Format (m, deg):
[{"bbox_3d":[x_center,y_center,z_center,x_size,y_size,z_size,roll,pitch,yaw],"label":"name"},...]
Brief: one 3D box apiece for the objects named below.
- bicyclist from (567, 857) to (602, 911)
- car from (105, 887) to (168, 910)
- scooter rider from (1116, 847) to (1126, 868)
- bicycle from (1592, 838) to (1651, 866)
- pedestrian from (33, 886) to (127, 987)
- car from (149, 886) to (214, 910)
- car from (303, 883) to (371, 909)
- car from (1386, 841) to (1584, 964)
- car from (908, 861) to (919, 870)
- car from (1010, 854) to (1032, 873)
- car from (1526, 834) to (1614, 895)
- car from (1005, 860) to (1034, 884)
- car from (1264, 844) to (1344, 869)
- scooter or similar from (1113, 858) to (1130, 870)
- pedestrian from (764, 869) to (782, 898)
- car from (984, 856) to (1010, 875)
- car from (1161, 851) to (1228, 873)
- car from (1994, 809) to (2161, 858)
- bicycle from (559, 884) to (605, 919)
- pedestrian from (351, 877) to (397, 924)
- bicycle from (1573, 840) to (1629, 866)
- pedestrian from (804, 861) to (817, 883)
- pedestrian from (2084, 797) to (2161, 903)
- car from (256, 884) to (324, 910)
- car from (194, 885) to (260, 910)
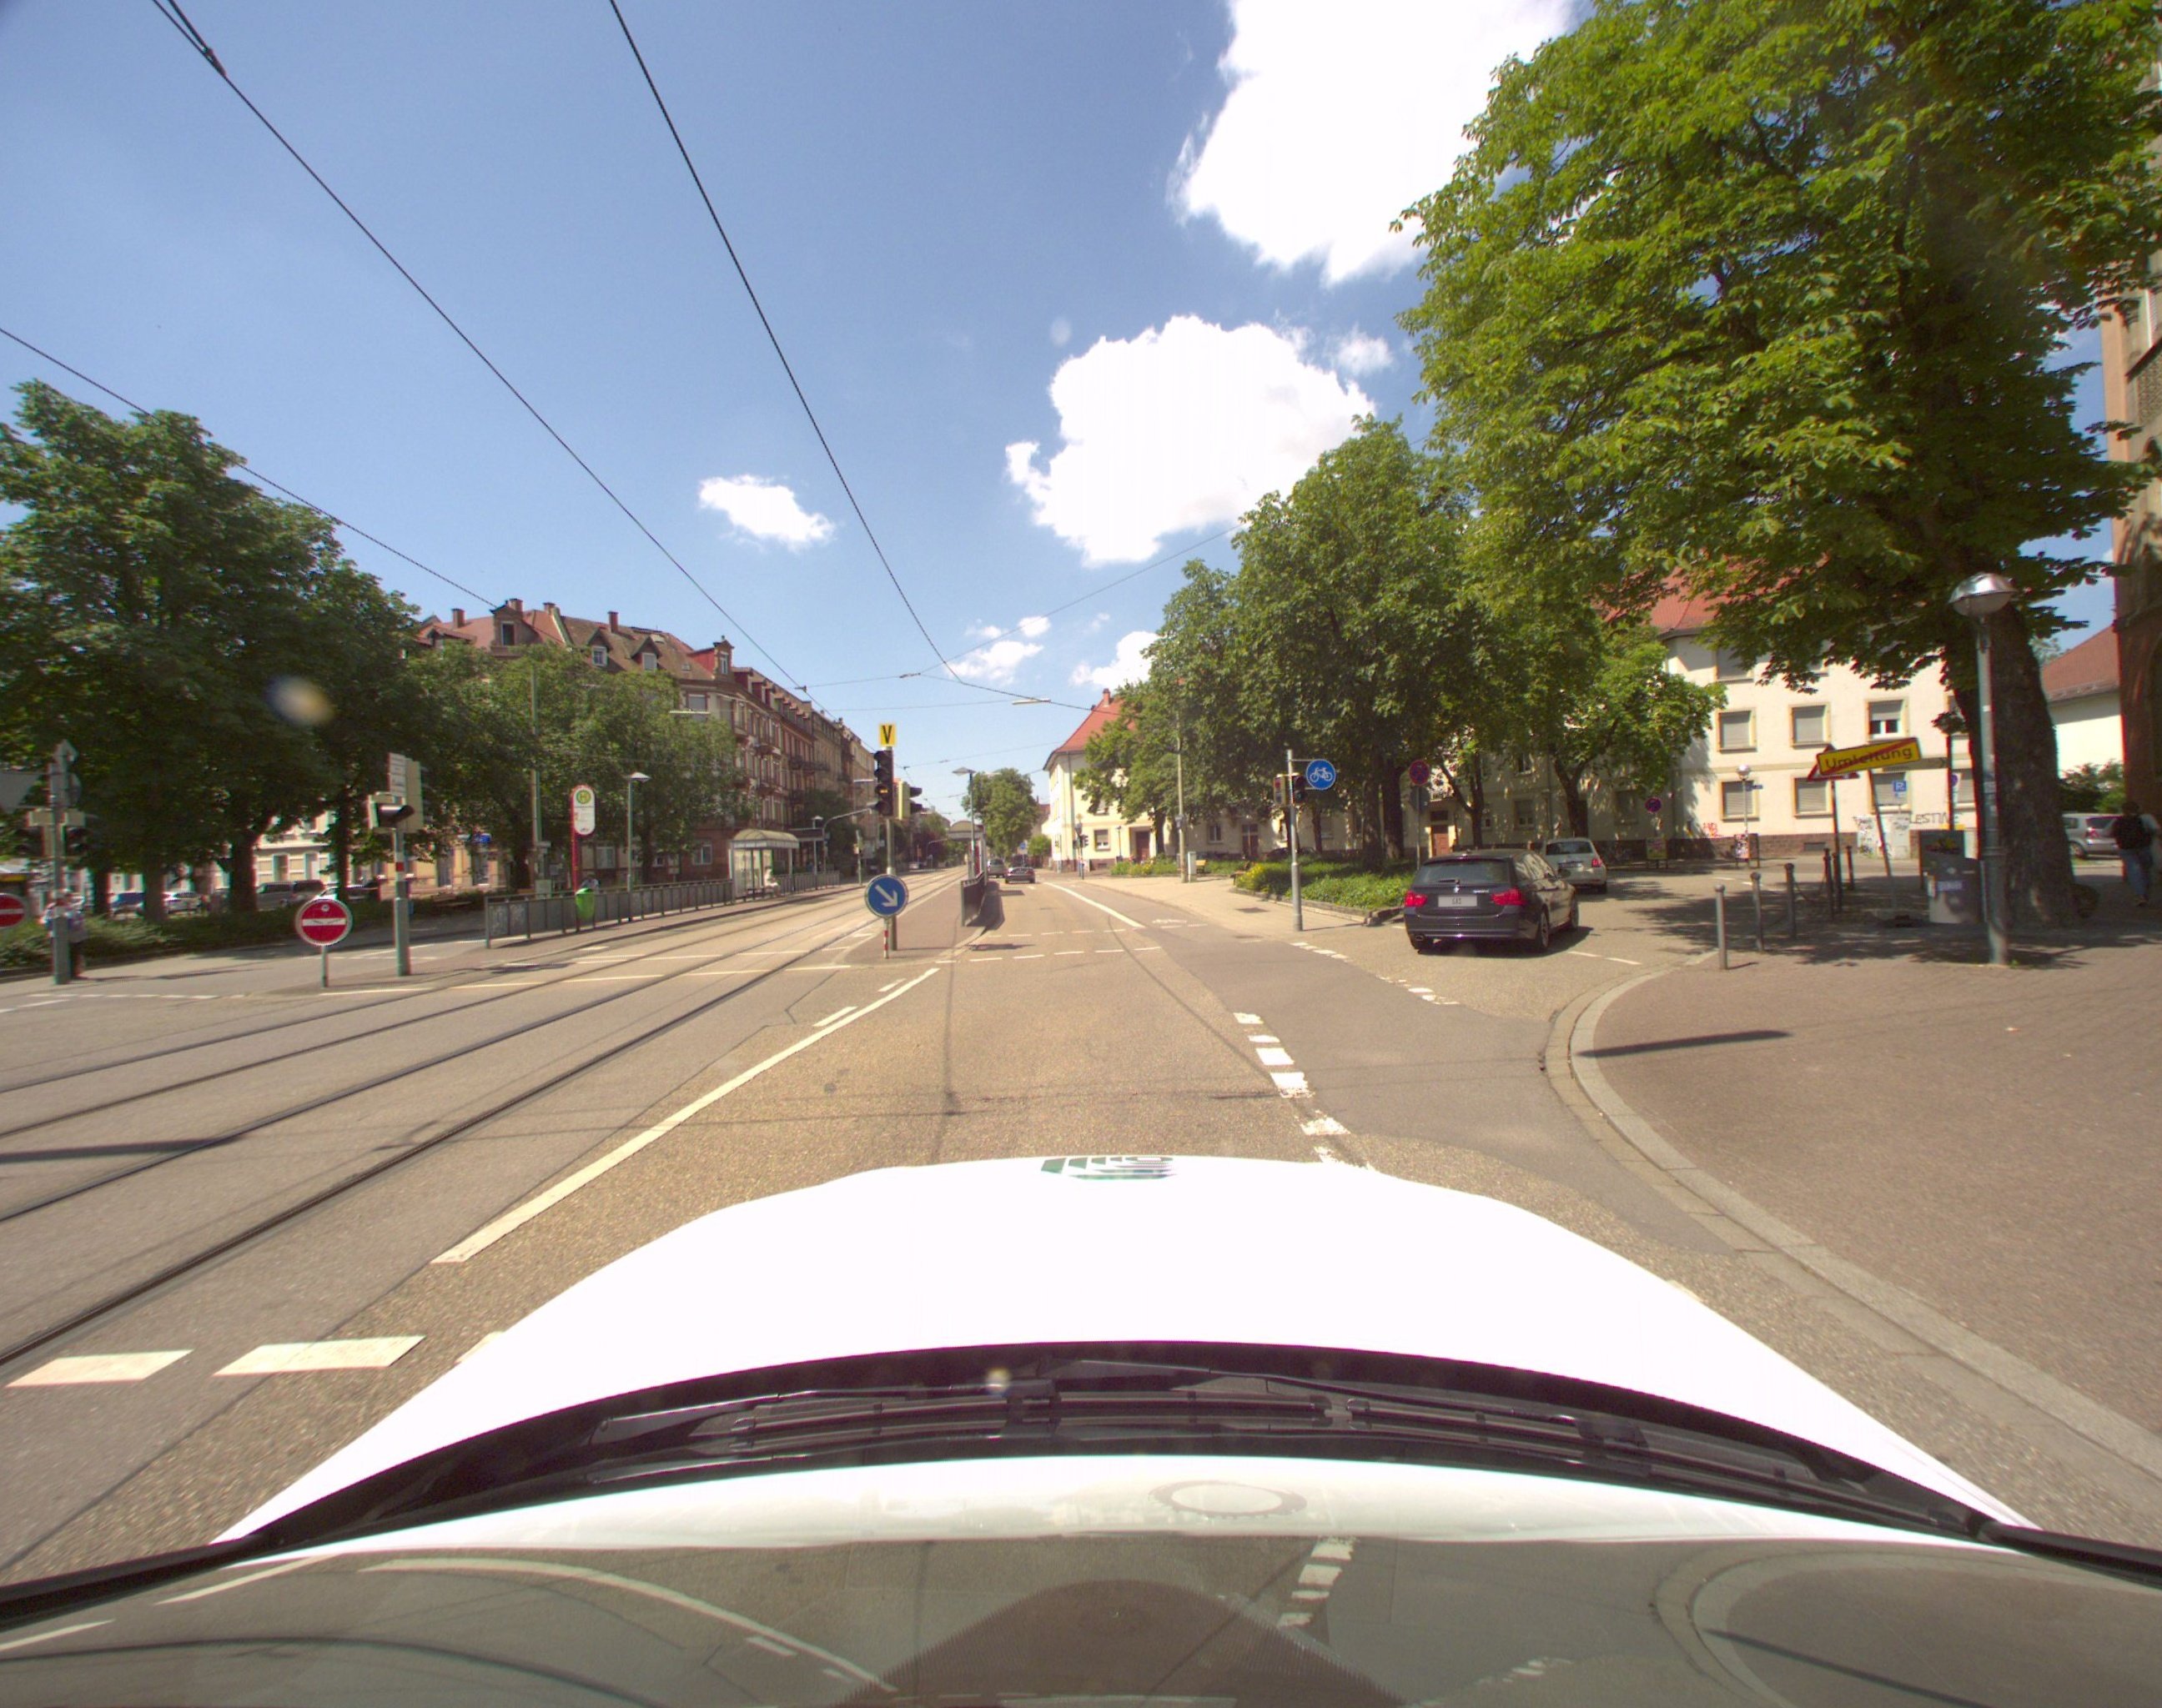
[{"bbox_3d":[-17.712,1.050,29.070,0.721,1.870,0.824,-2,0,-6],"label":"bicyclist"},{"bbox_3d":[-67.101,3.142,57.842,3.431,1.471,1.693,-2,0,18],"label":"car"},{"bbox_3d":[3.220,0.289,65.424,0.591,1.687,0.526,-2,0,-12],"label":"scooter rider"},{"bbox_3d":[23.249,-0.087,35.023,2.208,1.058,0.652,-2,0,-9],"label":"bicycle"},{"bbox_3d":[-18.354,1.470,14.964,0.844,1.723,0.909,-2,0,-36],"label":"pedestrian"},{"bbox_3d":[-61.784,3.037,55.934,3.431,1.471,1.693,-2,0,18],"label":"car"},{"bbox_3d":[-47.343,2.690,51.815,3.431,1.471,1.693,-2,0,18],"label":"car"},{"bbox_3d":[6.221,0.594,12.225,1.706,1.409,4.594,-3,0,38],"label":"car"},{"bbox_3d":[-32.519,2.258,158.021,1.790,1.586,3.980,-1,-1,-14],"label":"car"},{"bbox_3d":[-6.366,0.969,86.168,1.993,1.849,3.987,-2,0,-10],"label":"car"},{"bbox_3d":[13.330,0.242,22.382,1.669,1.484,3.706,-3,0,25],"label":"car"},{"bbox_3d":[-3.857,1.089,50.481,1.689,1.323,3.813,-2,0,-6],"label":"car"},{"bbox_3d":[13.213,0.143,48.430,1.801,1.328,4.289,-2,0,-38],"label":"car"},{"bbox_3d":[3.252,0.800,65.421,1.312,0.837,0.524,-2,0,-12],"label":"scooter or similar"},{"bbox_3d":[-13.268,1.267,35.104,0.614,1.243,0.625,-2,0,-12],"label":"pedestrian"},{"bbox_3d":[-6.949,0.932,67.097,1.693,1.514,3.805,-2,0,-12],"label":"car"},{"bbox_3d":[7.445,0.509,53.500,3.949,1.243,1.633,-3,0,29],"label":"car"},{"bbox_3d":[32.922,-0.639,26.995,1.664,1.442,3.746,-3,0,14],"label":"car"},{"bbox_3d":[-17.712,1.677,28.949,0.728,1.101,1.711,-2,0,-7],"label":"bicycle"},{"bbox_3d":[-29.592,1.921,34.084,0.992,1.868,1.021,-2,0,13],"label":"pedestrian"},{"bbox_3d":[23.493,-0.035,36.805,2.206,1.058,0.556,-2,0,-5],"label":"bicycle"},{"bbox_3d":[-23.091,1.541,69.519,0.634,1.811,0.743,-3,0,17],"label":"pedestrian"},{"bbox_3d":[15.989,-0.064,12.407,0.741,1.556,0.806,-3,0,43],"label":"pedestrian"},{"bbox_3d":[-51.110,2.772,52.638,3.431,1.471,1.693,-2,0,18],"label":"car"},{"bbox_3d":[-57.142,2.924,54.488,3.431,1.471,1.693,-2,0,18],"label":"car"}]
